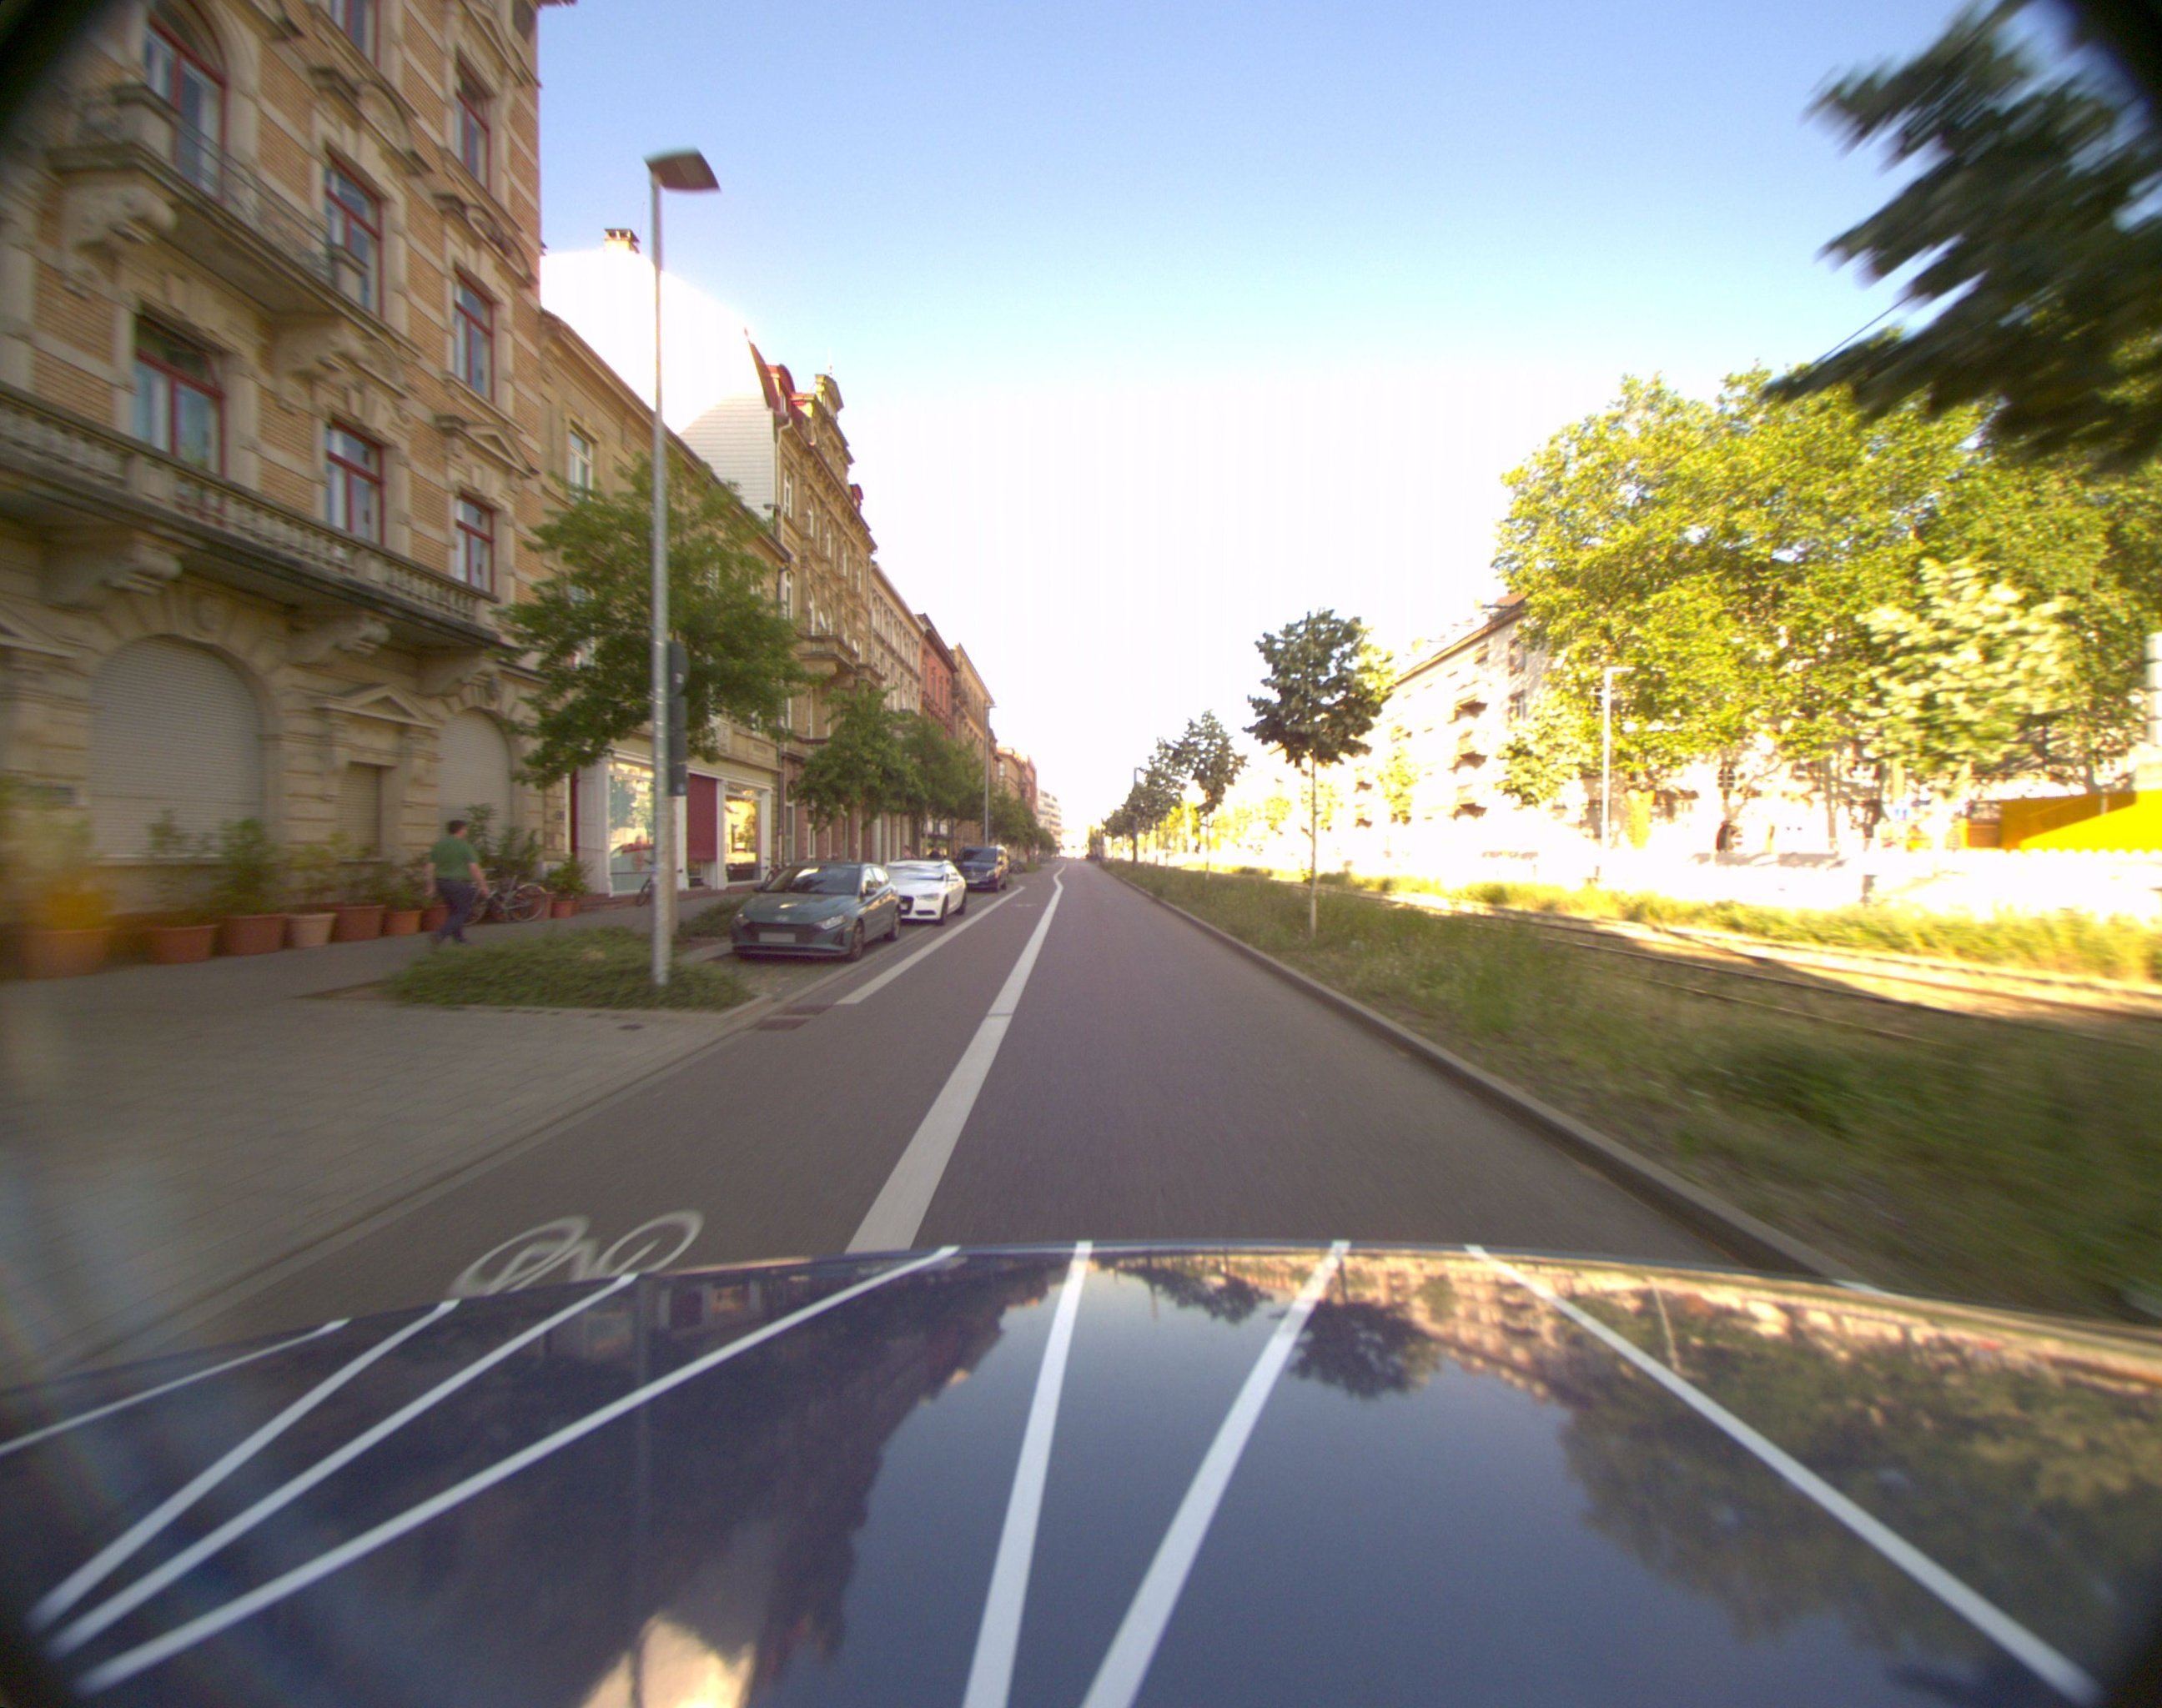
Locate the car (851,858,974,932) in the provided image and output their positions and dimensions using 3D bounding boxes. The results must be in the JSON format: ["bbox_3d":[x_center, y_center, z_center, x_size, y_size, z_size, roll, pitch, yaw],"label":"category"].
[{"bbox_3d":[-3.881,0.875,18.461,1.853,1.445,5.251,2,0,-1],"label":"car"}]

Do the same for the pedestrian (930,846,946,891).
[{"bbox_3d":[-5.530,0.540,29.436,0.505,1.718,0.490,-1,1,-1],"label":"pedestrian"}]

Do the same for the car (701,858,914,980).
[{"bbox_3d":[-4.180,0.899,12.454,1.853,1.555,4.297,2,0,1],"label":"car"}]

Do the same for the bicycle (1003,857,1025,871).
[{"bbox_3d":[-5.025,0.747,57.012,1.584,1.112,0.577,0,1,2],"label":"bicycle"}]

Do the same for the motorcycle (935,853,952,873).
[{"bbox_3d":[-9.803,0.610,54.147,0.788,1.413,2.053,0,0,0],"label":"motorcycle"}]

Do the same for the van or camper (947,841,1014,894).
[{"bbox_3d":[-4.081,0.508,31.847,1.966,1.960,5.487,2,0,1],"label":"van or camper"}]

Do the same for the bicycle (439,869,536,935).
[{"bbox_3d":[-10.641,0.829,13.686,0.385,1.074,1.676,-1,0,1],"label":"bicycle"}]

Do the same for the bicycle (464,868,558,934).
[{"bbox_3d":[-10.253,0.815,13.738,0.385,1.074,1.676,-1,0,1],"label":"bicycle"}]

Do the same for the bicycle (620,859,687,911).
[{"bbox_3d":[-10.547,0.741,18.806,0.721,1.188,1.772,0,1,-3],"label":"bicycle"}]

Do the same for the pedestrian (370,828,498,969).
[{"bbox_3d":[-8.494,0.553,10.026,0.749,1.744,1.072,1,1,1],"label":"pedestrian"}]

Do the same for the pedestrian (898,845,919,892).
[{"bbox_3d":[-6.516,0.537,28.681,0.481,1.718,0.578,1,1,45],"label":"pedestrian"}]

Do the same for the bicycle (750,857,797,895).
[{"bbox_3d":[-10.432,0.722,25.854,0.706,1.213,2.072,0,1,0],"label":"bicycle"}]

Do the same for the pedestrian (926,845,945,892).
[{"bbox_3d":[-5.425,0.535,28.390,0.471,1.768,0.506,0,1,20],"label":"pedestrian"}]

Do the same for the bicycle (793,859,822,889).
[{"bbox_3d":[-10.303,0.751,28.677,0.325,1.058,2.072,0,1,0],"label":"bicycle"}]

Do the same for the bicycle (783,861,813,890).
[{"bbox_3d":[-10.652,0.800,28.677,0.344,1.027,2.072,0,1,0],"label":"bicycle"}]

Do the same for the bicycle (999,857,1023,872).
[{"bbox_3d":[-5.098,0.779,55.703,1.692,1.112,0.530,0,1,2],"label":"bicycle"}]

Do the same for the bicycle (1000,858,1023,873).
[{"bbox_3d":[-4.975,0.838,54.324,1.613,1.046,0.478,0,1,2],"label":"bicycle"}]
